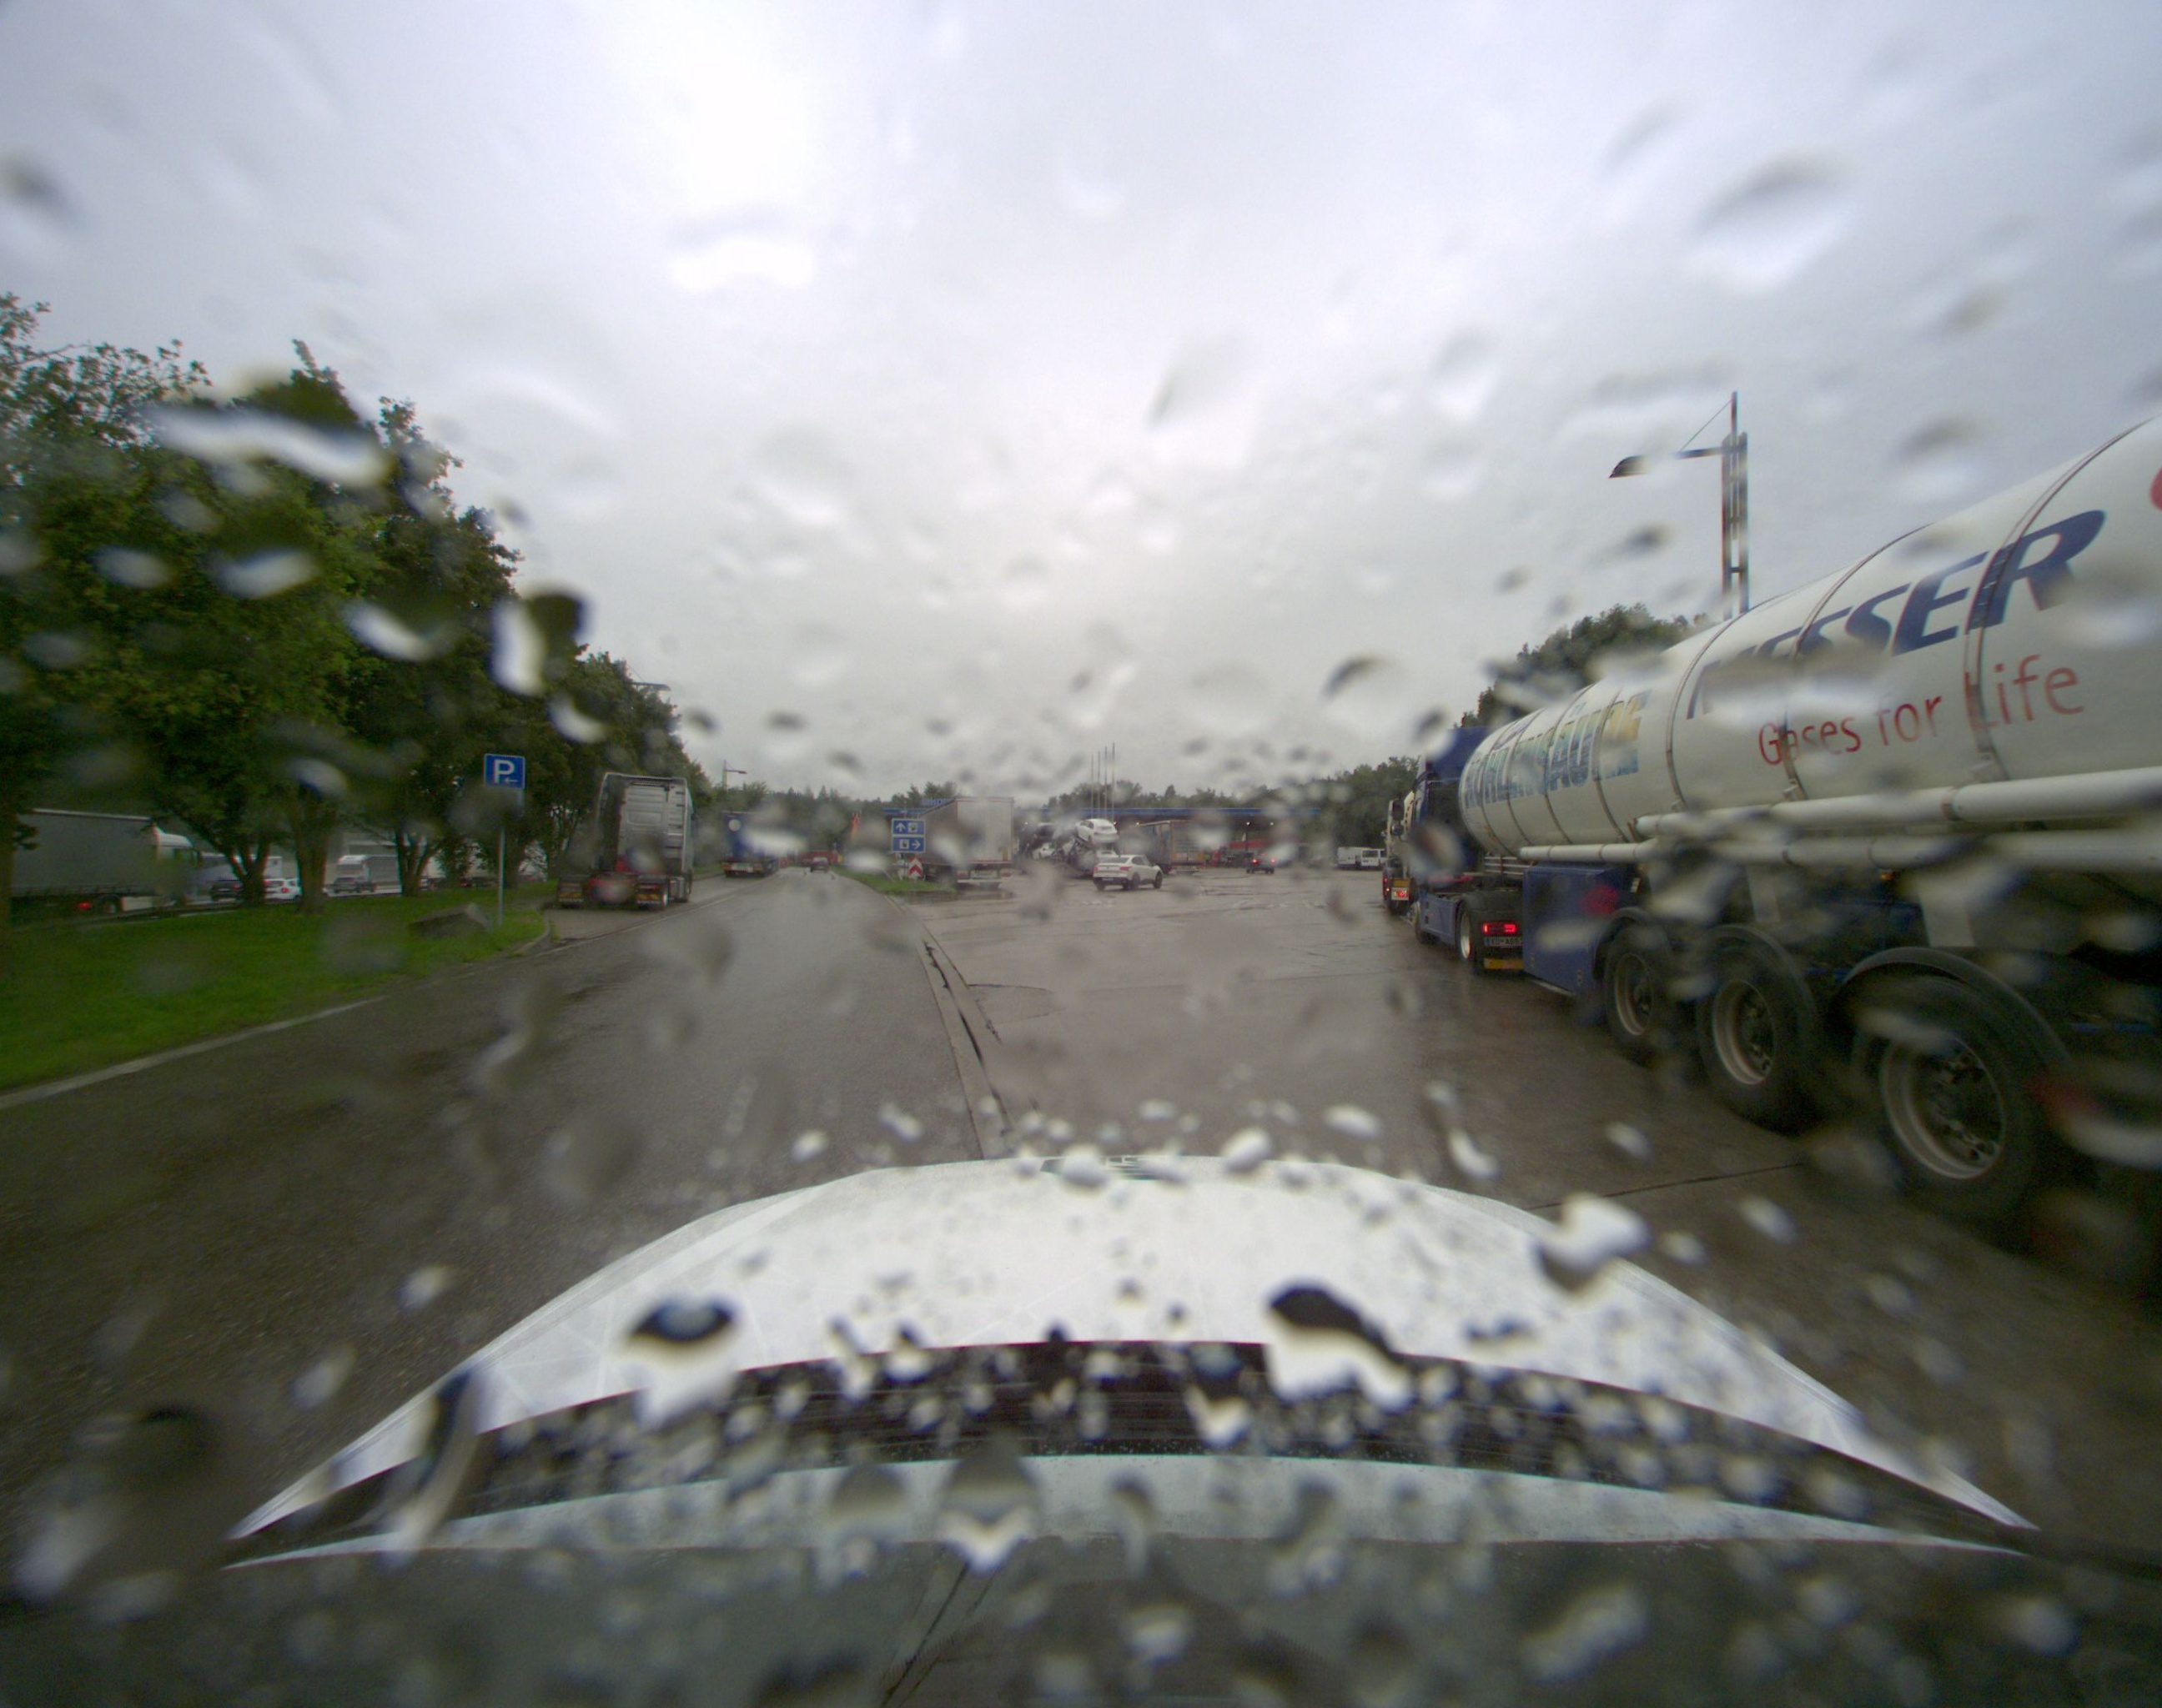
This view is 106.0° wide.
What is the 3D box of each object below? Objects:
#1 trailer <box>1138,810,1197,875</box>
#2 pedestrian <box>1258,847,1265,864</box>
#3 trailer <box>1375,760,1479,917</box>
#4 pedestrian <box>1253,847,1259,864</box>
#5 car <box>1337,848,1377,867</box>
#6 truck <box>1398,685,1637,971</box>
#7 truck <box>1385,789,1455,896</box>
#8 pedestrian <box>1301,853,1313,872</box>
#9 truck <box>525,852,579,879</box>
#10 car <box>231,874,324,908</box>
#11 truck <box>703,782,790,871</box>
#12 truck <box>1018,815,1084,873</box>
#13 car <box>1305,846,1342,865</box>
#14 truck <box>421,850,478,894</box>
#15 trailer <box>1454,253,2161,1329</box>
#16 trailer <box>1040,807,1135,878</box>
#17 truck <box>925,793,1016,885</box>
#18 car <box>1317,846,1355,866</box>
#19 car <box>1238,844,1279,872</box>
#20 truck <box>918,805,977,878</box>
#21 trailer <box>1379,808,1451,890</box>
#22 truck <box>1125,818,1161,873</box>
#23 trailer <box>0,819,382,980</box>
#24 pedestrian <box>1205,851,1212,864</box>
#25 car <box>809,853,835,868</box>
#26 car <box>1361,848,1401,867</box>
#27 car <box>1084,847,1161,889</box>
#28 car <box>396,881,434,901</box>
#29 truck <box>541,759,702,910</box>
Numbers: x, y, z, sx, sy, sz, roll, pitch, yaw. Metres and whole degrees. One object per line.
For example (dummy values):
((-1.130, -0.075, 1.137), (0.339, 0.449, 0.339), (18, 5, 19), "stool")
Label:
((6.473, -0.759, 62.634), (1.993, 4.559, 9.776), (0, -1, -10), "trailer")
((21.198, 0.190, 95.581), (0.664, 2.014, 0.745), (2, -3, 16), "pedestrian")
((9.614, -0.341, 22.910), (2.113, 3.440, 10.307), (0, 0, 22), "trailer")
((20.804, 0.192, 96.952), (0.583, 2.014, 0.638), (2, -3, 7), "pedestrian")
((26.410, 0.309, 77.864), (2.093, 1.728, 4.024), (0, 0, 43), "car")
((6.373, -0.320, 12.581), (2.039, 3.531, 4.762), (0, 0, 12), "truck")
((12.120, -0.374, 29.183), (2.127, 3.513, 4.671), (0, 0, 22), "truck")
((23.982, 0.884, 86.517), (0.944, 1.920, 1.096), (0, 0, 35), "pedestrian")
((-67.455, 1.459, 103.934), (5.259, 3.003, 1.988), (4, -1, -18), "truck")
((-41.122, 1.849, 41.807), (1.916, 1.550, 3.972), (-1, 0, -21), "car")
((-22.214, -1.658, 54.882), (4.806, 5.305, 10.998), (0, 0, -19), "truck")
((-2.497, -0.760, 63.634), (3.240, 4.188, 8.399), (1, 0, -16), "truck")
((25.517, 0.170, 85.554), (2.093, 1.937, 4.217), (0, 0, 43), "car")
((-50.942, 1.452, 65.815), (2.515, 3.365, 4.712), (4, -3, -26), "truck")
((5.043, -0.171, 6.072), (1.967, 3.224, 10.356), (0, 0, 12), "trailer")
((0.159, -0.682, 54.090), (3.222, 4.189, 11.468), (1, 0, -16), "trailer")
((-5.824, -0.659, 40.696), (2.377, 3.874, 12.379), (-1, 0, -18), "truck")
((25.586, 0.217, 81.666), (2.093, 1.937, 4.217), (0, 0, 43), "car")
((14.414, 0.379, 66.222), (1.992, 2.014, 3.989), (3, -3, -7), "car")
((-7.778, -0.698, 46.766), (2.377, 3.874, 6.969), (-1, 0, -18), "truck")
((15.594, -0.226, 37.711), (2.162, 3.392, 7.610), (0, 0, 29), "trailer")
((5.265, -0.694, 69.822), (1.988, 4.549, 4.779), (0, -1, -10), "truck")
((-28.506, 1.314, 27.208), (2.905, 3.983, 14.022), (-1, -1, -20), "trailer")
((15.752, 0.464, 100.673), (0.713, 1.521, 0.745), (2, -3, 16), "pedestrian")
((-25.031, 0.623, 78.924), (1.879, 1.461, 3.985), (1, -1, -11), "car")
((27.785, 0.324, 75.322), (2.093, 1.728, 4.024), (0, 0, 43), "car")
((1.870, 0.560, 35.335), (1.975, 1.679, 4.023), (0, 0, 24), "car")
((-65.222, 3.607, 79.847), (1.821, 1.768, 3.969), (-1, -1, -23), "car")
((-13.467, -0.507, 24.492), (2.923, 3.904, 6.279), (0, 0, -17), "truck")
